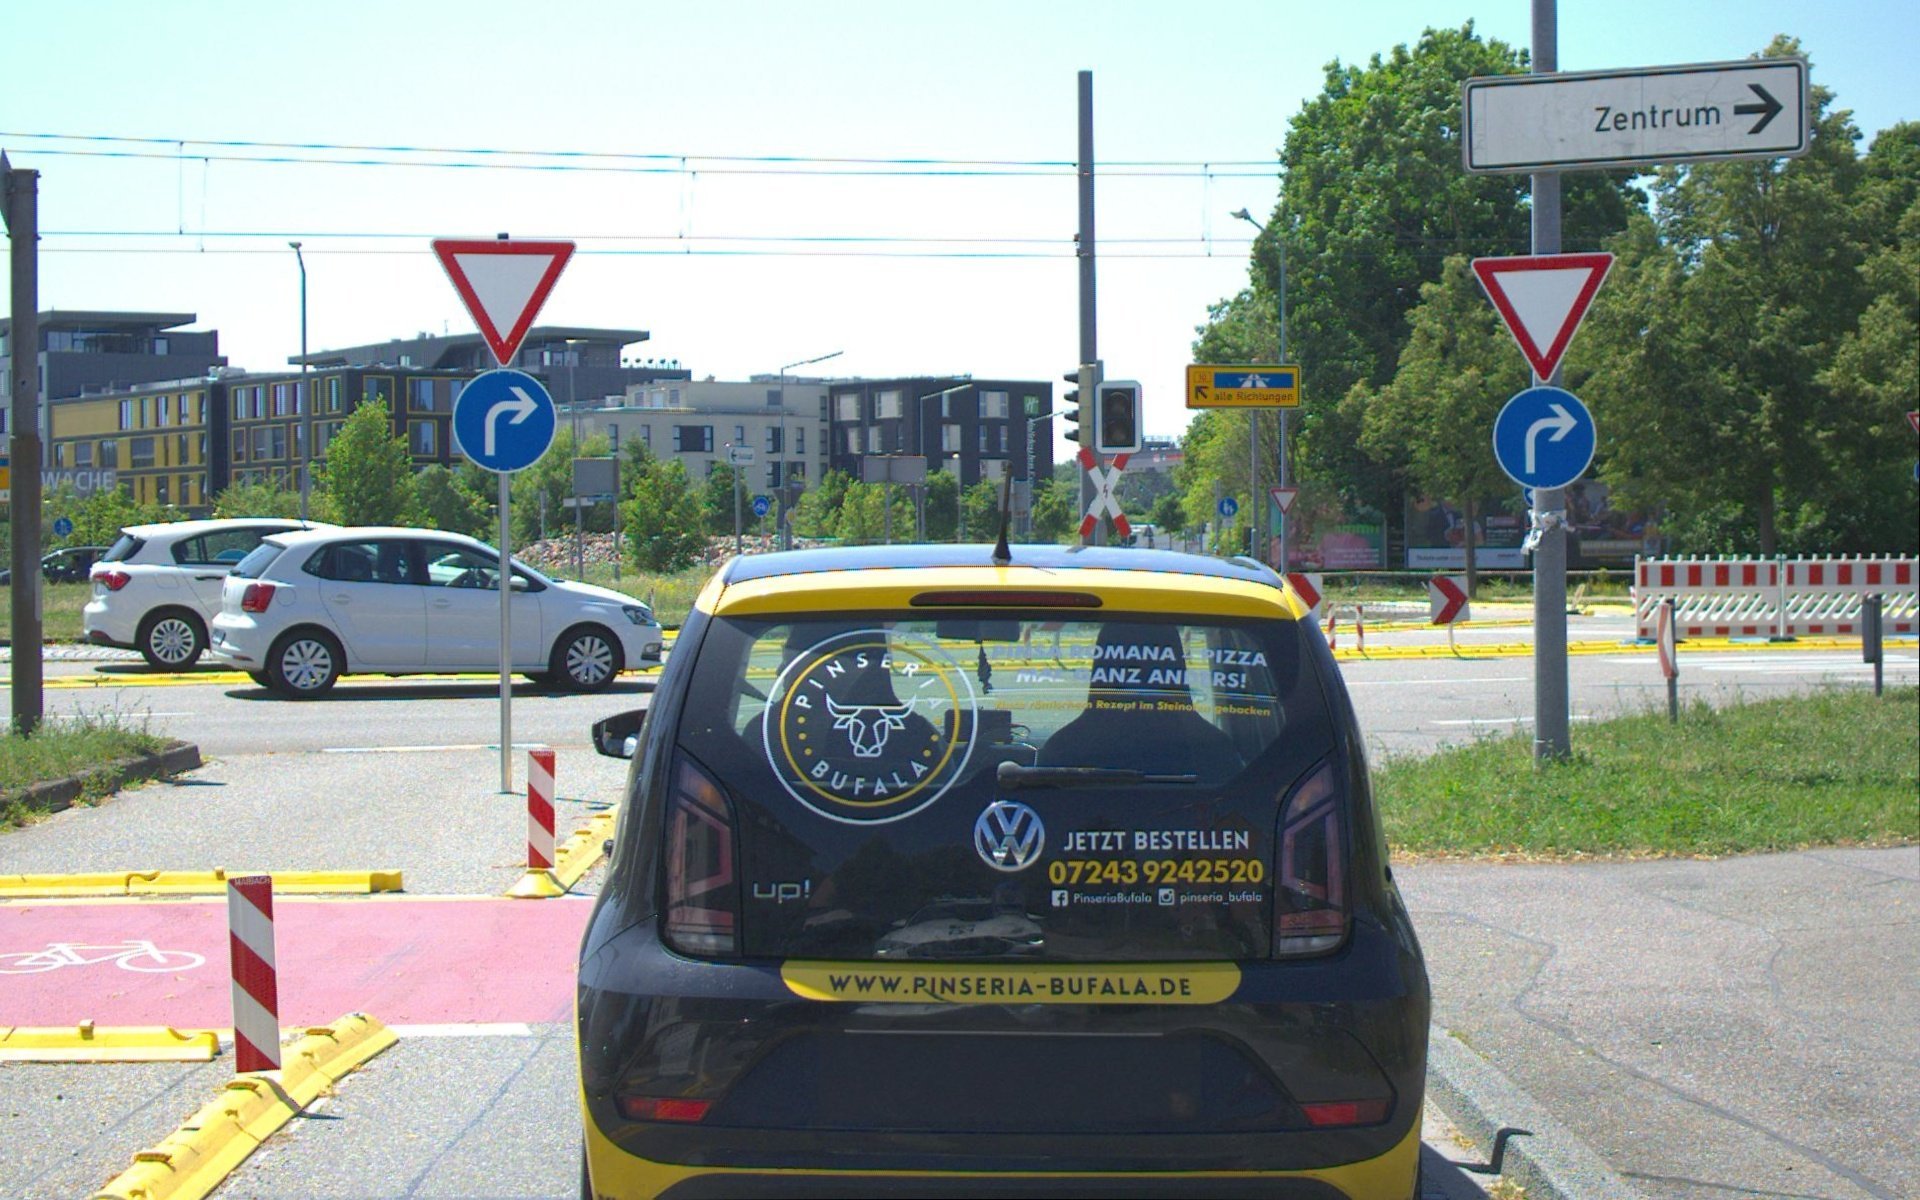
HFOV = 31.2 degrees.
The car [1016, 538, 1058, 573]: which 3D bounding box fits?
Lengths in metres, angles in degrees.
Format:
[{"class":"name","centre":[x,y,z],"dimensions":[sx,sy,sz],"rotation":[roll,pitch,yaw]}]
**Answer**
[{"class":"car","centre":[3.131,-1.821,139.452],"dimensions":[1.520,1.389,3.282],"rotation":[0,1,5]}]

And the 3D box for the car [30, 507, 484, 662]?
[{"class":"car","centre":[-7.071,-0.176,34.758],"dimensions":[4.351,1.481,2.001],"rotation":[-1,1,-11]}]

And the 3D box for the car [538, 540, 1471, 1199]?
[{"class":"car","centre":[0.044,0.596,8.012],"dimensions":[1.618,1.446,3.987],"rotation":[1,1,-1]}]

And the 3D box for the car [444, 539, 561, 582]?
[{"class":"car","centre":[-12.388,-1.078,93.080],"dimensions":[2.886,1.151,1.205],"rotation":[-1,1,-28]}]

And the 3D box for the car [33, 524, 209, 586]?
[{"class":"car","centre":[-19.952,-1.083,81.886],"dimensions":[4.034,1.456,1.730],"rotation":[0,1,-12]}]

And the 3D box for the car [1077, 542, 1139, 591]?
[{"class":"car","centre":[4.259,-0.969,98.487],"dimensions":[1.658,1.368,3.031],"rotation":[0,1,5]}]

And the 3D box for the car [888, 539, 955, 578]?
[{"class":"car","centre":[-1.312,-1.434,118.419],"dimensions":[1.769,1.340,3.320],"rotation":[0,1,9]}]

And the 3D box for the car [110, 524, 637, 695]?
[{"class":"car","centre":[-5.241,0.073,30.675],"dimensions":[4.336,1.444,1.857],"rotation":[0,1,-21]}]
